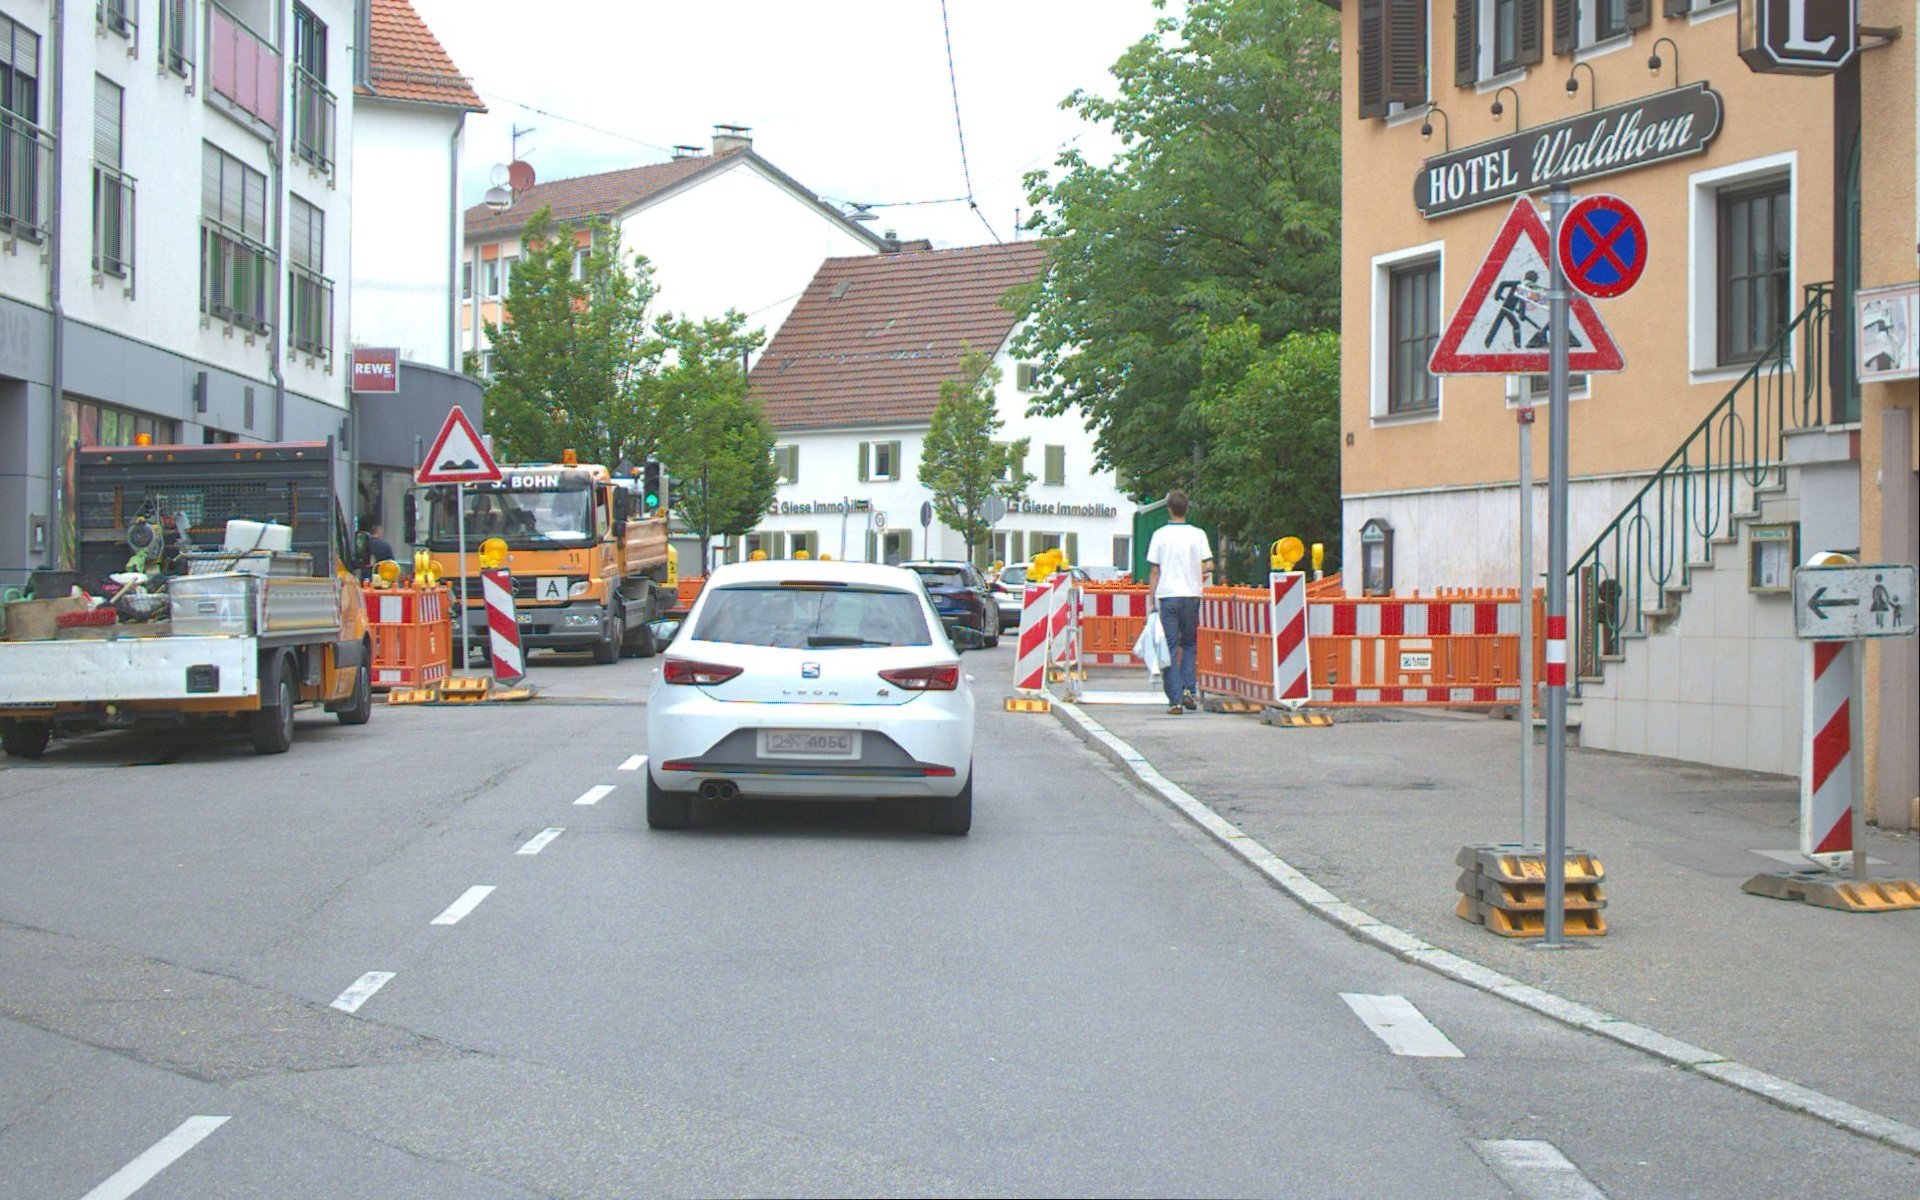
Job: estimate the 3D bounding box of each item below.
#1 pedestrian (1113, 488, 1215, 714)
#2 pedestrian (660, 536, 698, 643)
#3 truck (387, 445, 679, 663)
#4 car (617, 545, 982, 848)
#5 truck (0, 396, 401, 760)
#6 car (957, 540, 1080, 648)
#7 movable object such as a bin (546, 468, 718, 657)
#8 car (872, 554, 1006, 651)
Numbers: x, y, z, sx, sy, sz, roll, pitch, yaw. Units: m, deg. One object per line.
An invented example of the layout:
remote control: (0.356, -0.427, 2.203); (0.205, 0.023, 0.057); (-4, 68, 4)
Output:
pedestrian: (1.782, 0.002, 30.116); (0.798, 1.943, 0.836); (0, 1, -3)
pedestrian: (-4.564, -0.176, 55.835); (0.537, 1.738, 0.443); (0, 0, 7)
truck: (-5.609, -0.637, 46.322); (2.731, 2.715, 6.847); (0, 1, 3)
car: (-0.829, 0.461, 19.400); (1.811, 1.475, 3.871); (2, 1, 0)
truck: (-5.998, -0.207, 26.478); (2.413, 2.457, 6.308); (0, 1, -1)
car: (1.159, -0.123, 66.251); (1.994, 2.007, 3.999); (0, 0, 7)
movable object such as a bin: (-4.943, -0.520, 52.354); (1.839, 2.754, 4.505); (0, -1, 5)
car: (-0.298, 0.018, 54.981); (1.812, 1.475, 3.870); (0, 1, 5)
